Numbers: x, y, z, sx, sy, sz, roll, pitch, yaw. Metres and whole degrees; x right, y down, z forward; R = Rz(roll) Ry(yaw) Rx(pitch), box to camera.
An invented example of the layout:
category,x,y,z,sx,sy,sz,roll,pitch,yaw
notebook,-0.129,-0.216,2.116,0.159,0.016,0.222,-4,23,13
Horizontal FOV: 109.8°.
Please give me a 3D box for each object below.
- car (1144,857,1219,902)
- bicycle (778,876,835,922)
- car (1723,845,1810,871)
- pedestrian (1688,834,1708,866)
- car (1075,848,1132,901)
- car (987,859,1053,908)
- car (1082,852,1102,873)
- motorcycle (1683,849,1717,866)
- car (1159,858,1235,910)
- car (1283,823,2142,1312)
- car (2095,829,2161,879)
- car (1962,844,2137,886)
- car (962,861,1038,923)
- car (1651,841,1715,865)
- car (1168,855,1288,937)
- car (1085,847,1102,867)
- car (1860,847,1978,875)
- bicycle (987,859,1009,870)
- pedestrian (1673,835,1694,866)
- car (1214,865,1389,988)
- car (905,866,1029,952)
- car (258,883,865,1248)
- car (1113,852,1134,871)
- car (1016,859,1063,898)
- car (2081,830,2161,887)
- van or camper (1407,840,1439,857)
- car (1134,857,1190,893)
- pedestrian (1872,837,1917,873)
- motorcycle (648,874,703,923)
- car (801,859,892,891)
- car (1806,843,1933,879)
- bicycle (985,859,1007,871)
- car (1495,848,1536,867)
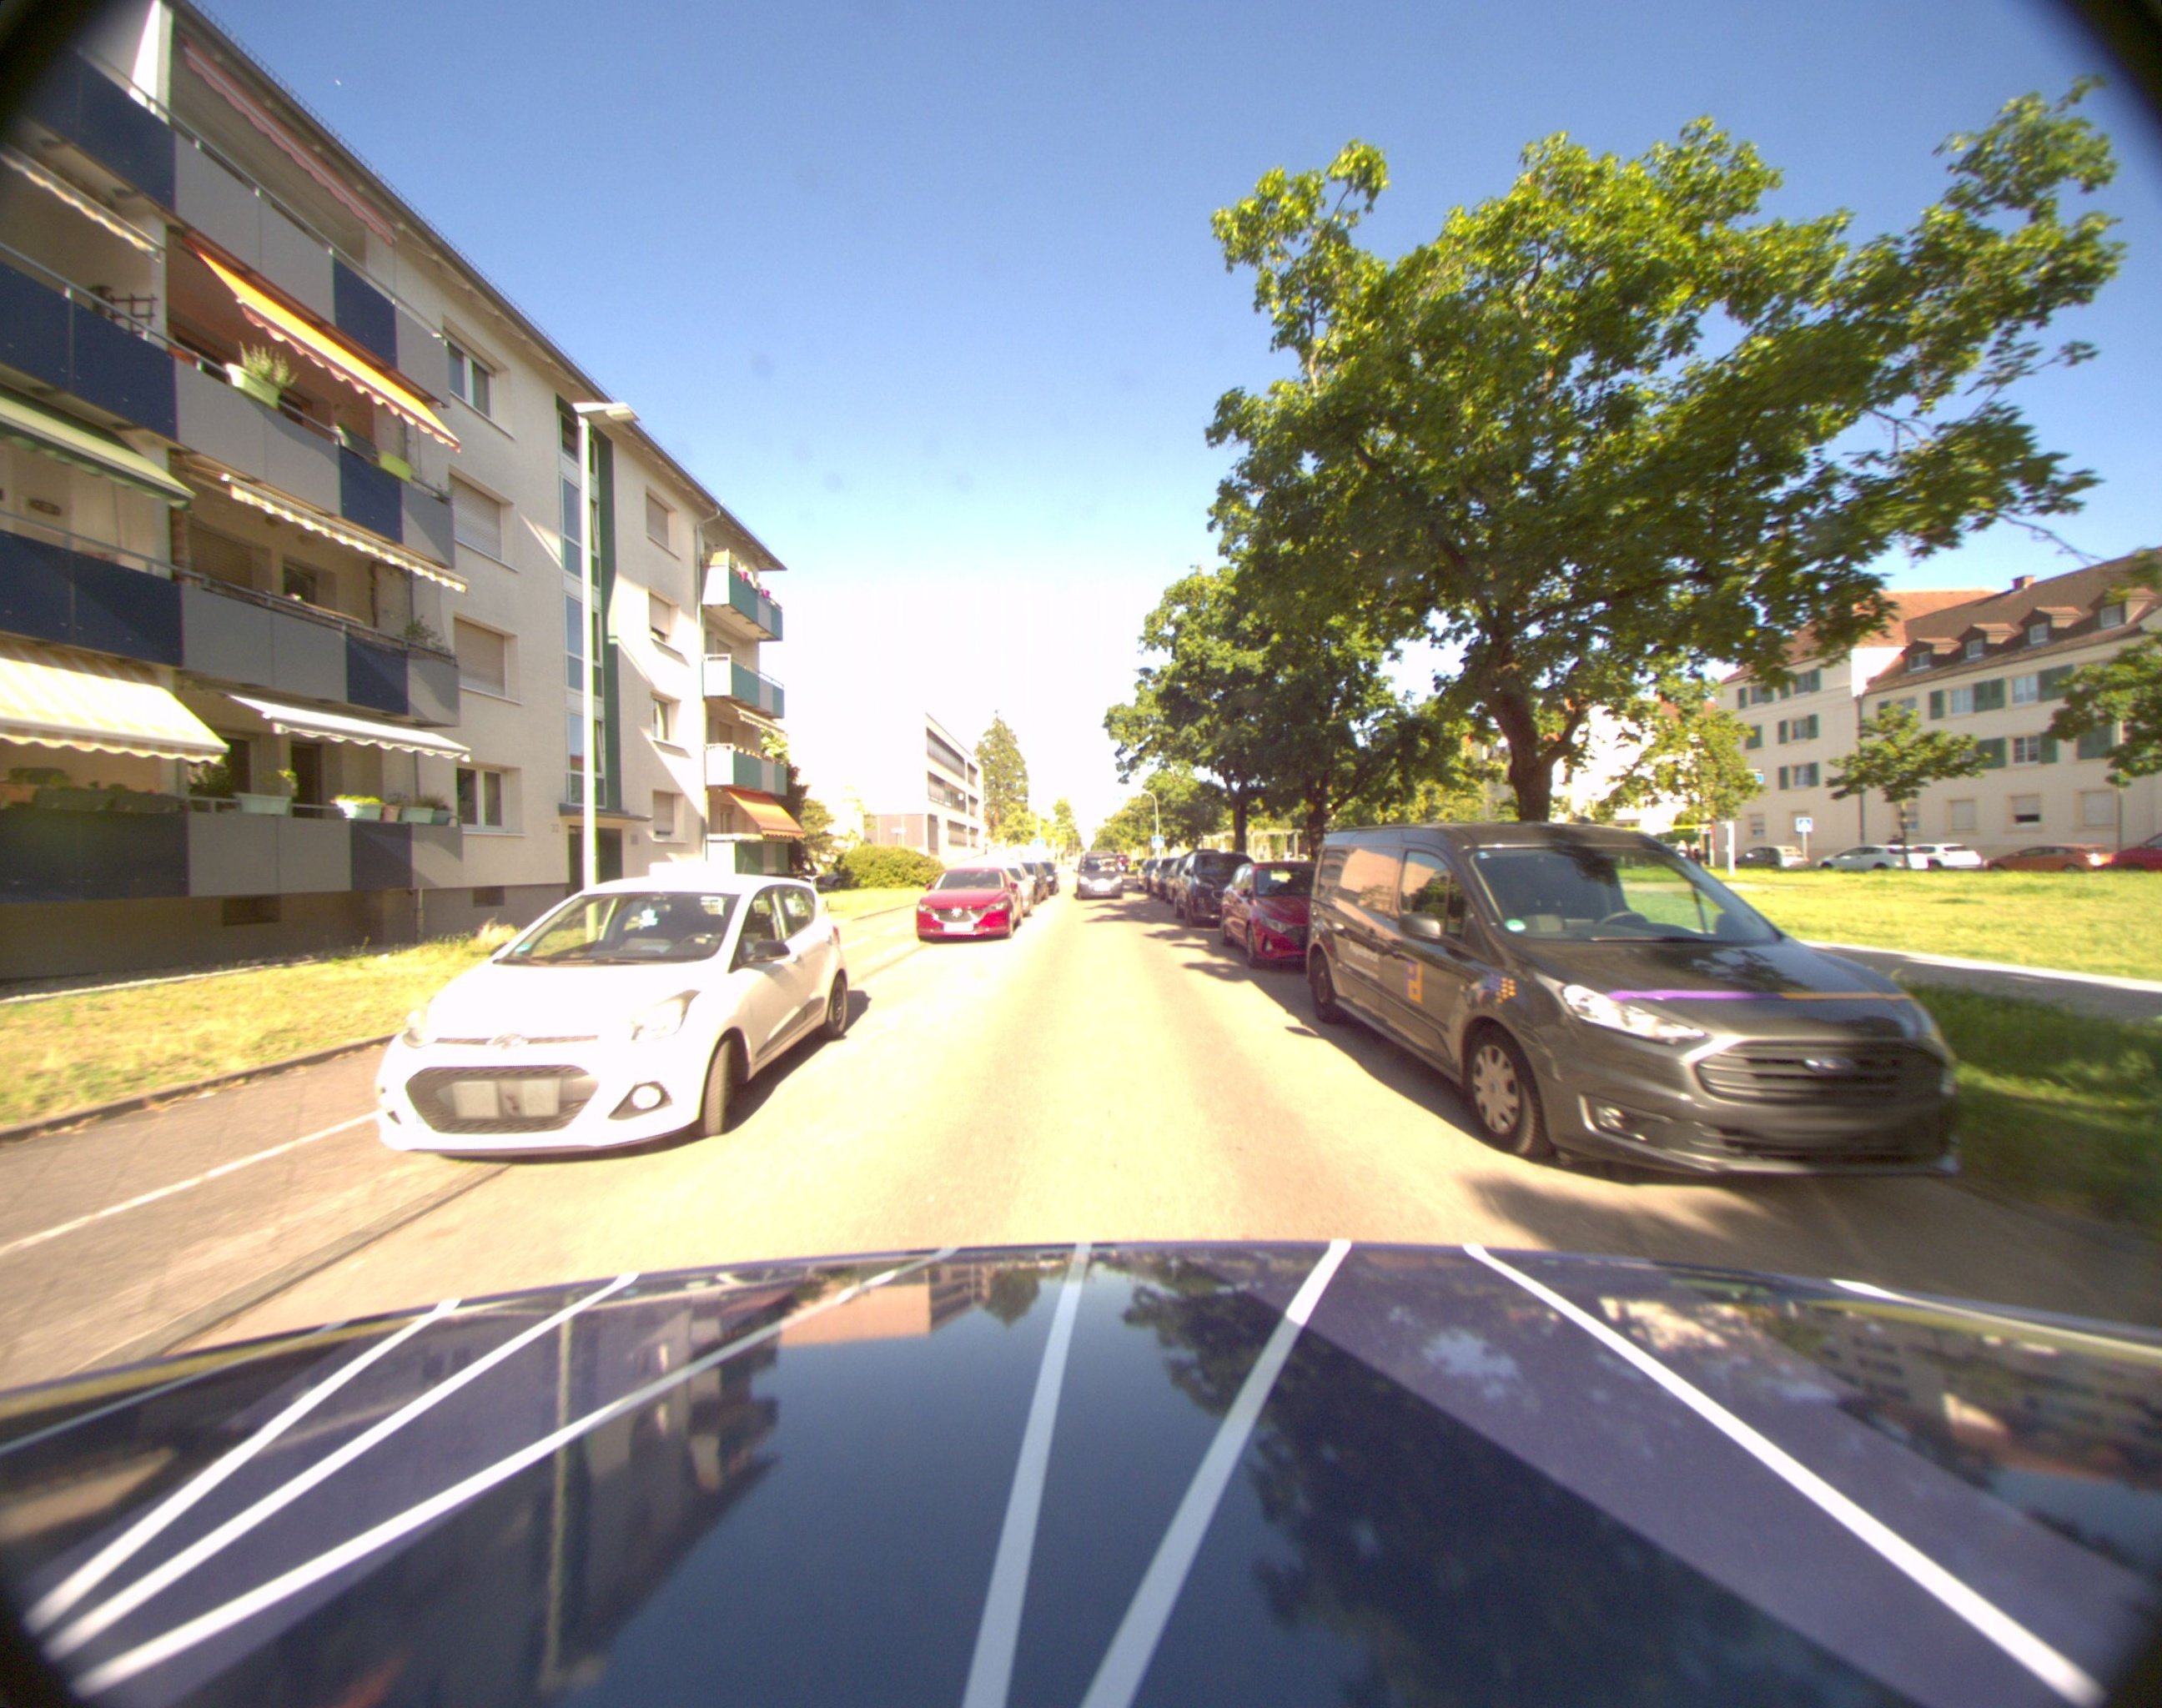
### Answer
category,x,y,z,sx,sy,sz,roll,pitch,yaw
car,3.642,0.885,28.427,1.999,1.507,5.157,0,0,-2
bicycle,-7.161,1.154,19.936,0.721,1.071,1.897,-1,0,3
car,38.032,0.208,42.256,1.654,1.325,3.515,-1,0,0
pedestrian,33.530,-0.208,41.270,0.544,1.675,0.674,-1,0,6
car,0.791,0.723,28.030,1.902,1.779,4.157,-1,0,0
car,-2.087,0.984,27.280,1.774,1.520,4.558,-1,0,2
car,1.079,0.760,72.447,1.788,1.899,4.627,-1,0,2
motorcycle,46.970,0.258,57.673,0.818,1.297,2.145,-1,0,-1
car,3.473,0.857,23.362,1.884,1.411,3.803,0,1,2
car,2.965,0.762,5.274,1.869,1.774,4.991,-1,1,1
car,43.694,-0.009,29.269,2.226,1.973,5.257,-1,0,-1
car,43.722,0.461,34.511,1.999,1.753,4.644,-1,0,-1
car,-2.214,0.990,21.856,1.878,1.525,4.492,-1,0,-2
car,51.308,-0.054,64.826,3.812,1.944,2.043,-1,0,3
car,3.214,0.839,17.629,2.030,1.616,4.758,0,0,2
car,1.763,0.393,105.905,2.074,2.583,6.203,-1,0,2
car,43.745,0.359,39.810,1.773,1.348,4.000,-1,0,0
bicycle,-8.525,1.121,77.993,2.084,1.058,0.860,1,0,1
pedestrian,32.875,-0.171,41.473,0.544,1.675,0.750,-1,0,3
car,3.062,0.918,11.363,1.542,1.420,4.088,-1,0,2
car,-2.252,1.048,16.410,1.848,1.464,5.065,-1,0,0
car,-2.916,1.038,5.414,1.752,1.490,3.860,-1,0,-2
car,4.536,0.743,80.328,2.021,1.867,4.742,-1,0,5
car,-1.739,1.008,32.749,1.662,1.465,3.793,-3,0,1
car,38.293,0.139,25.628,2.226,1.973,5.258,-1,0,1
van or camper,44.427,-0.715,98.890,2.273,2.002,4.374,-1,1,1
car,3.544,0.897,34.044,1.840,1.444,4.967,-1,0,-1
pedestrian,45.980,0.050,42.971,1.343,1.952,1.163,-1,1,-5
motorcycle,-10.562,1.138,19.858,0.584,1.144,2.036,-1,0,-8
car,-12.923,1.156,42.043,4.418,1.614,1.914,-1,0,-1
car,38.129,0.319,36.907,1.793,1.574,4.235,-1,0,0
bicycle,-8.591,1.113,76.706,2.030,1.057,0.883,2,0,0
car,44.075,0.337,77.233,1.954,1.783,4.000,-1,0,2
